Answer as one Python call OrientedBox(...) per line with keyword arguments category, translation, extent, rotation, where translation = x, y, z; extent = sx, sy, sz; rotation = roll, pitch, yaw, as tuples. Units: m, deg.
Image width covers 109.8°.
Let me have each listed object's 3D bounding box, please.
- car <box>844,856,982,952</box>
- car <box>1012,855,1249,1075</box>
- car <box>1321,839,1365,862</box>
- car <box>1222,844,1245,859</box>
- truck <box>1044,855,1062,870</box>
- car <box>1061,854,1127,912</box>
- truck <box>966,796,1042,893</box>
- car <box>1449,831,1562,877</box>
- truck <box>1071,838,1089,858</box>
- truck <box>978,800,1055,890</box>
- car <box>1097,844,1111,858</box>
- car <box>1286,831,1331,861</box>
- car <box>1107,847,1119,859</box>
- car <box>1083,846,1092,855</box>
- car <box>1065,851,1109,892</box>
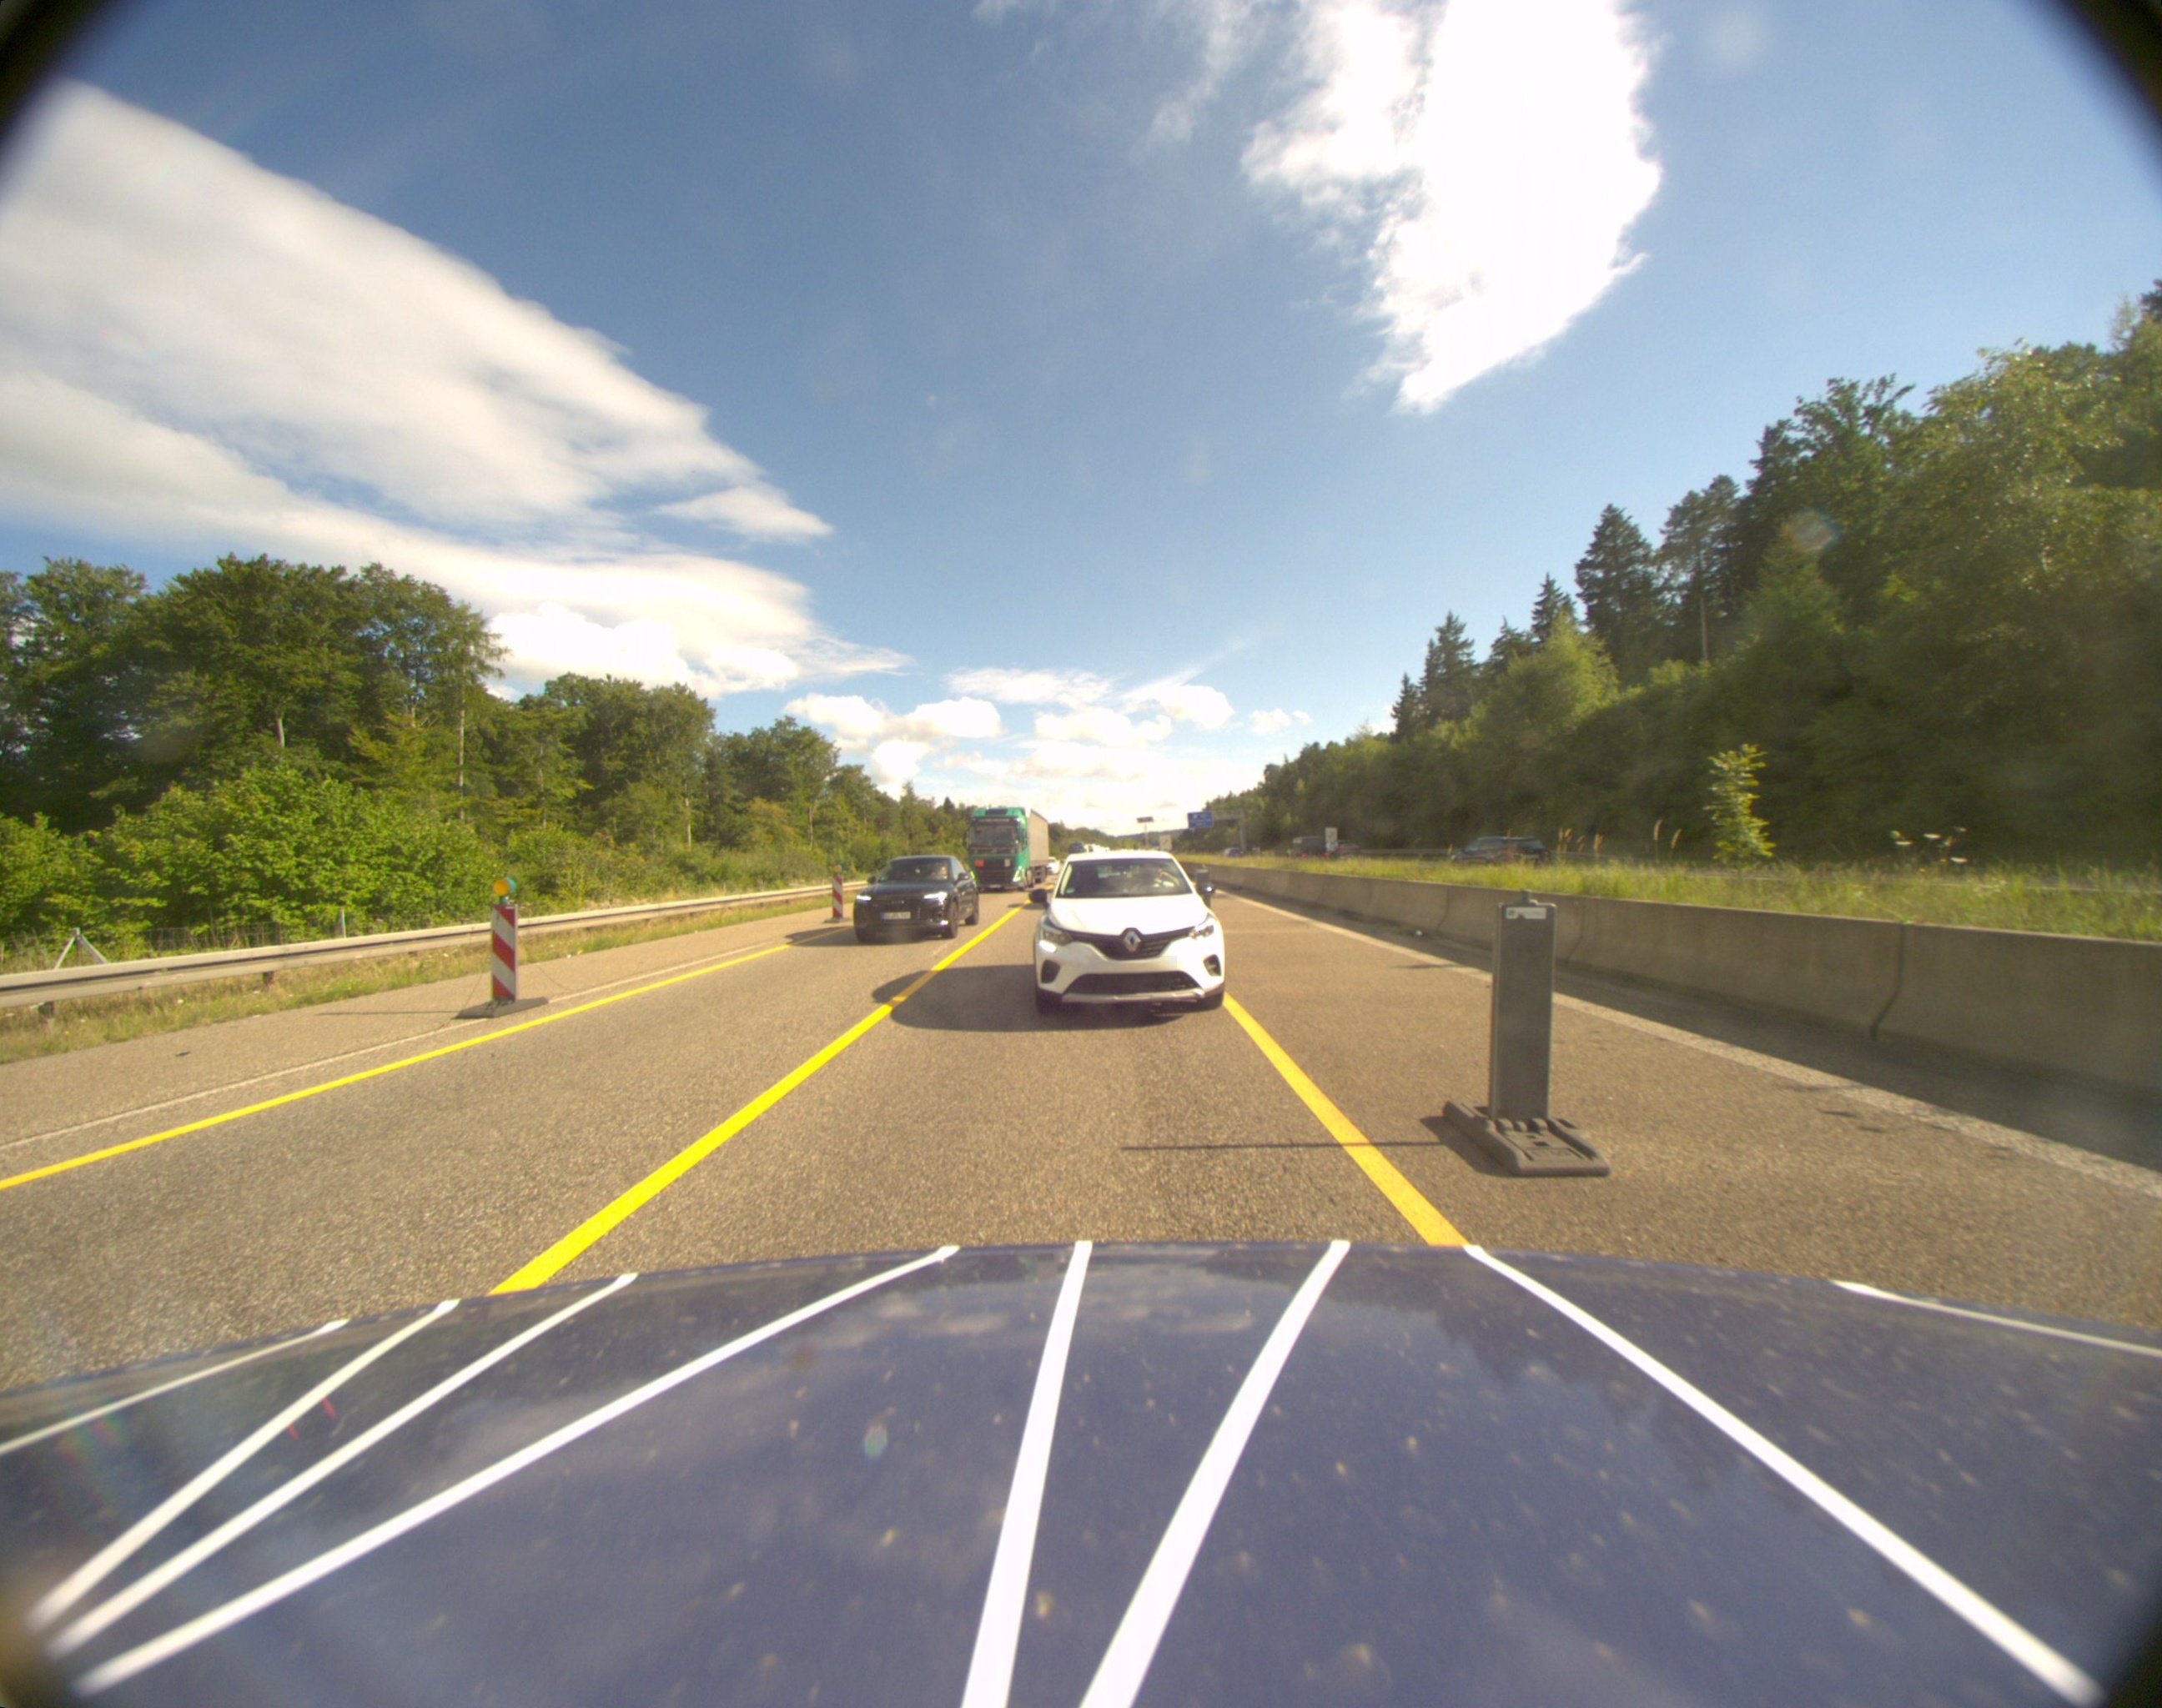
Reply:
OrientedBox(category="car", translation=(-3.281, 0.899, 15.734), extent=(1.782, 1.593, 4.293), rotation=(-3, 1, 1))
OrientedBox(category="car", translation=(0.410, 0.869, 7.926), extent=(1.782, 1.593, 4.017), rotation=(-3, 1, 1))
OrientedBox(category="car", translation=(19.908, -0.284, 57.994), extent=(1.782, 1.679, 4.617), rotation=(-3, 1, 1))
OrientedBox(category="car", translation=(18.205, -0.327, 90.787), extent=(1.782, 1.593, 4.311), rotation=(-3, 1, 1))
OrientedBox(category="truck", translation=(-2.407, 0.715, 64.775), extent=(1.468, 1.215, 3.087), rotation=(-3, 1, -2))
OrientedBox(category="car", translation=(0.386, 0.796, 23.020), extent=(1.782, 1.468, 4.017), rotation=(-3, 1, 1))
OrientedBox(category="truck", translation=(-3.502, -0.464, 36.275), extent=(2.527, 4.076, 6.856), rotation=(-2, 1, 2))
OrientedBox(category="car", translation=(15.254, -0.019, 27.571), extent=(1.782, 1.448, 4.104), rotation=(-3, 1, 1))
OrientedBox(category="truck", translation=(-0.188, -0.984, 129.275), extent=(2.576, 3.168, 6.802), rotation=(-2, 1, 3))
OrientedBox(category="truck", translation=(-3.303, -0.416, 42.868), extent=(2.470, 4.119, 14.212), rotation=(-3, 0, 2))
OrientedBox(category="car", translation=(3.649, -0.489, 119.830), extent=(1.998, 2.002, 3.999), rotation=(-3, 1, 1))
OrientedBox(category="car", translation=(15.808, -0.568, 53.001), extent=(1.782, 1.891, 4.617), rotation=(-3, 1, 1))
OrientedBox(category="car", translation=(5.613, -0.167, 132.776), extent=(1.998, 2.002, 4.000), rotation=(-2, 1, 3))
OrientedBox(category="car", translation=(1.431, -0.703, 160.776), extent=(1.750, 1.787, 3.999), rotation=(-3, 1, 0))
OrientedBox(category="car", translation=(0.264, 0.696, 33.479), extent=(1.782, 1.593, 4.017), rotation=(-3, 1, 1))
